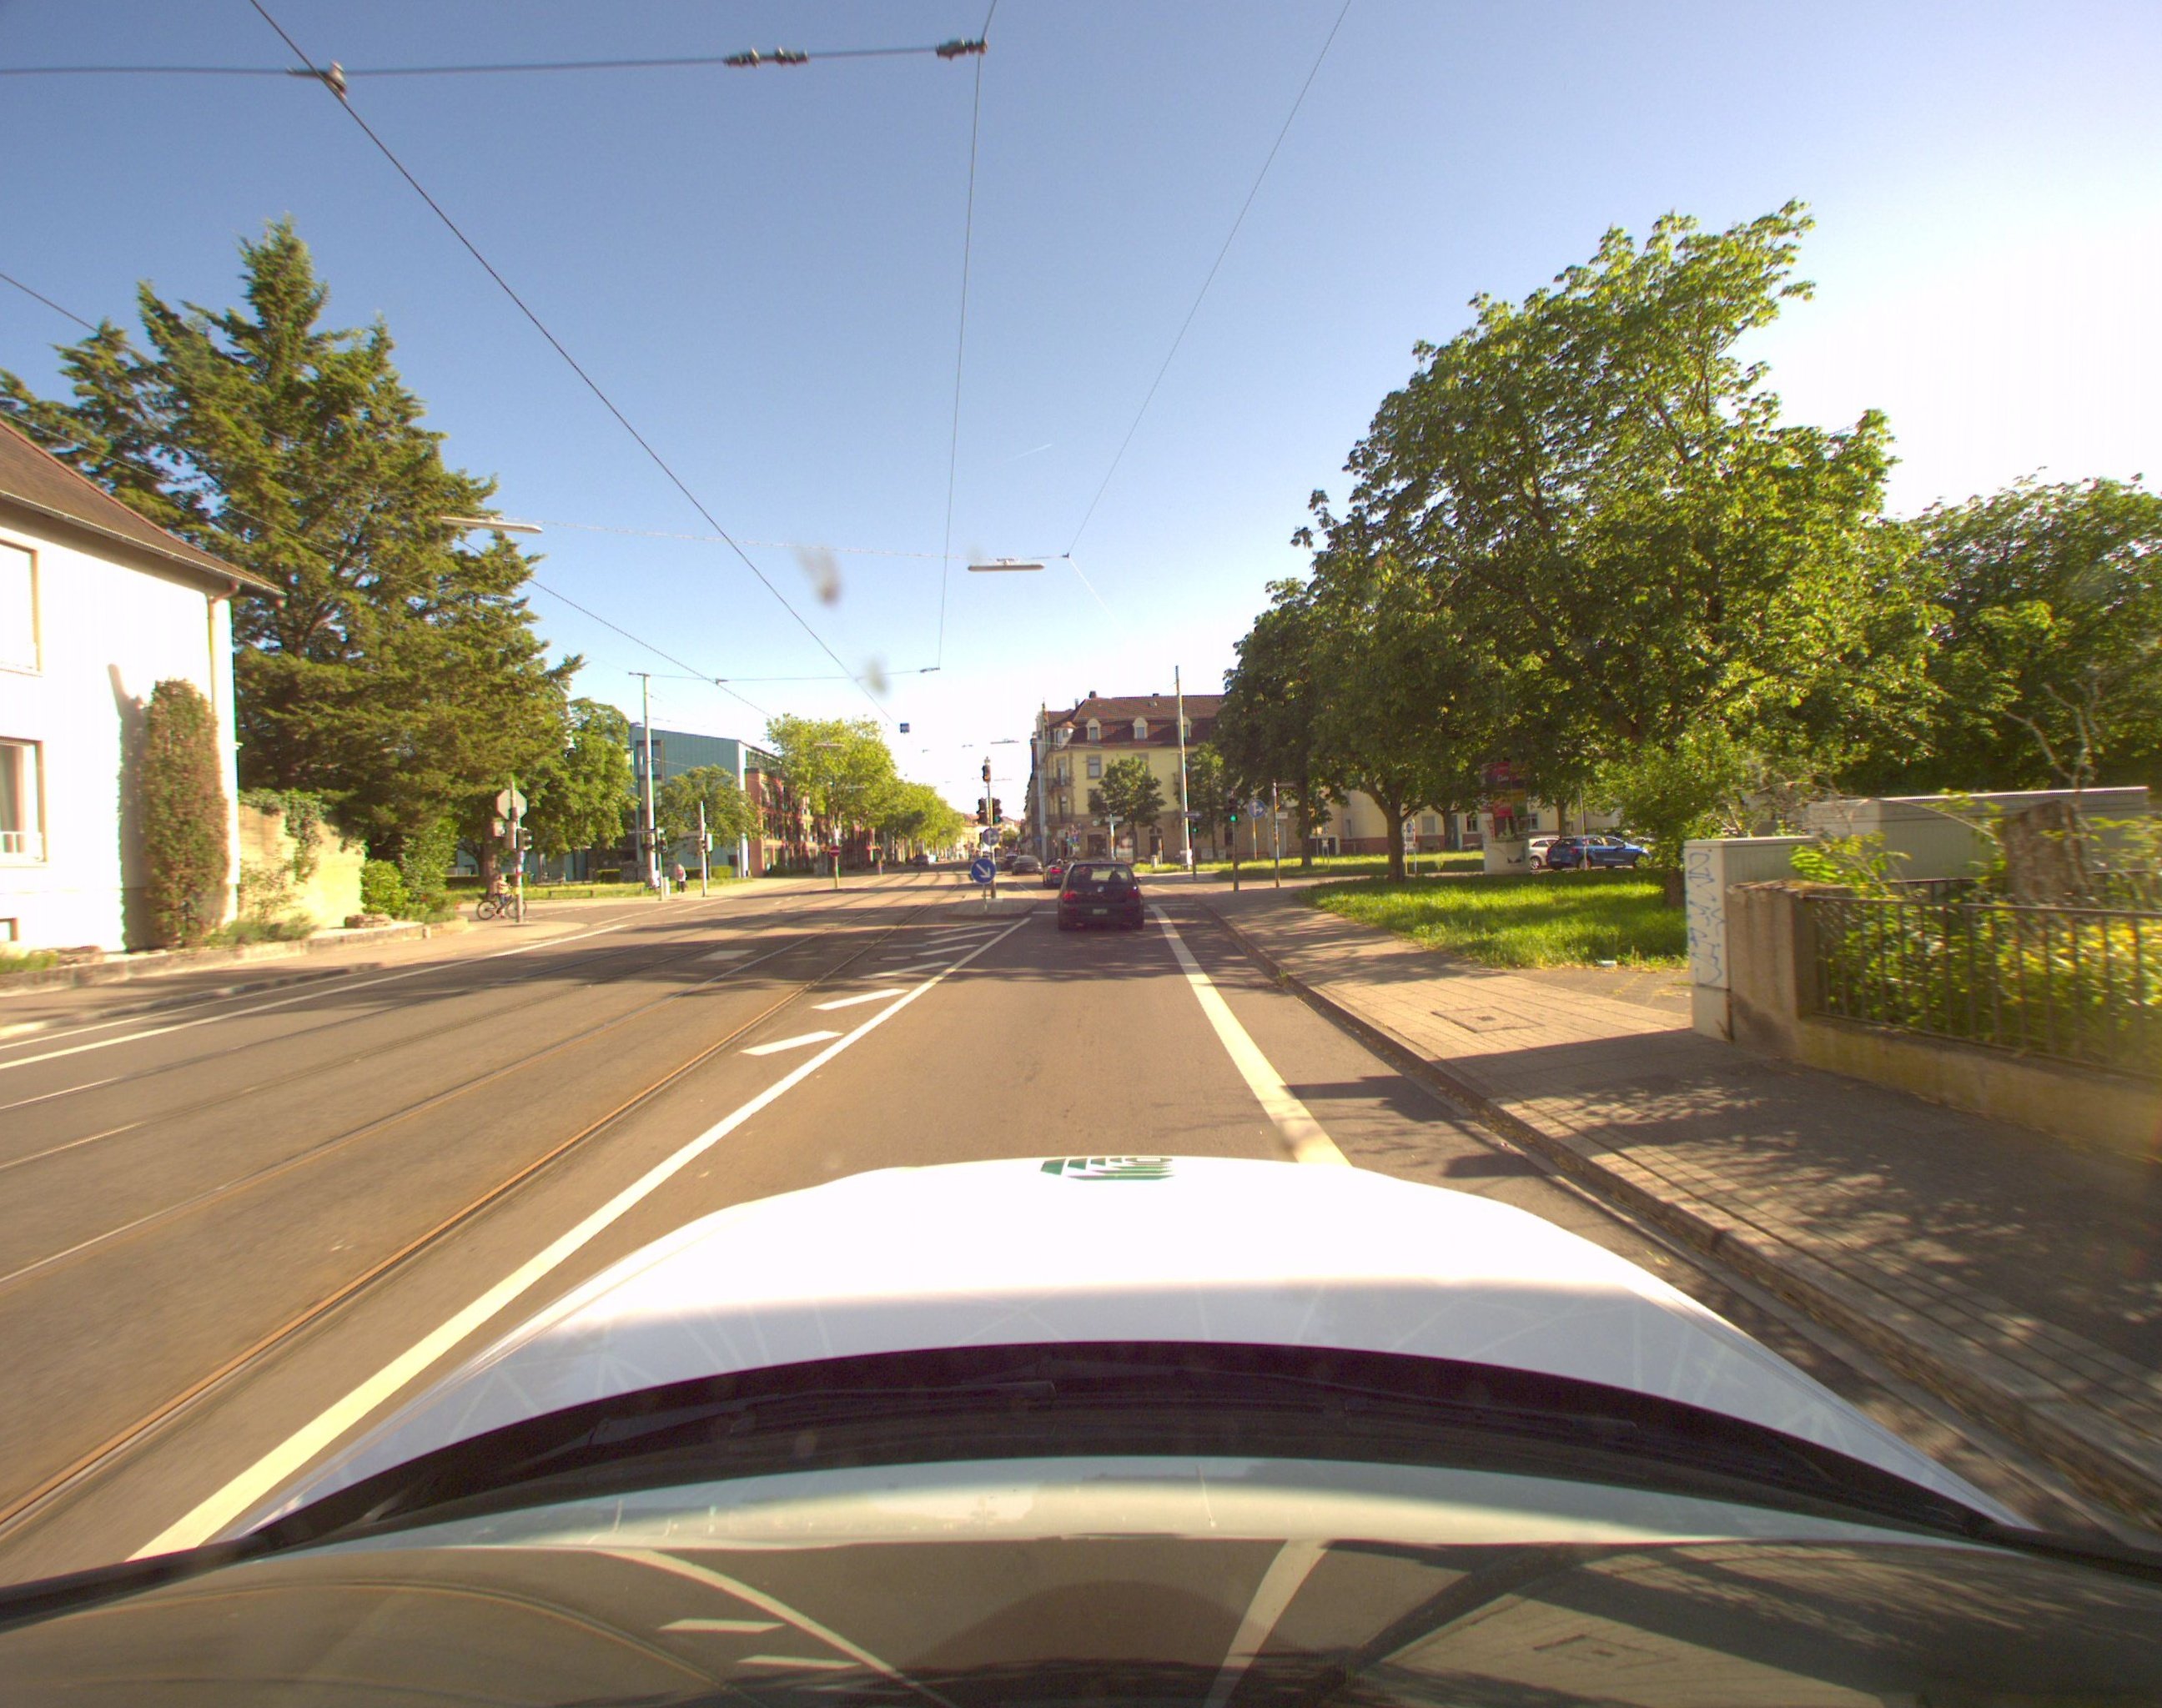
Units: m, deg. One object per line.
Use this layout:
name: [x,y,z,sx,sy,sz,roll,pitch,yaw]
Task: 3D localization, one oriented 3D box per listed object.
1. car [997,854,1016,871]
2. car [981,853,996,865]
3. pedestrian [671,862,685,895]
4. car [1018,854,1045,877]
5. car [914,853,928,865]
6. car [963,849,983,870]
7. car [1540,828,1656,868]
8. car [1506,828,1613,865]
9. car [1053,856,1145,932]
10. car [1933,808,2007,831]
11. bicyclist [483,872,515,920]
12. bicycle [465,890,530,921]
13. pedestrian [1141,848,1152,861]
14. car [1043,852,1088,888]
car: [-6.876,0.803,74.881,1.568,1.311,3.492,-3,3,-7]
car: [-11.507,0.605,101.300,1.679,1.453,3.371,-3,0,-7]
pedestrian: [-21.216,1.270,42.903,0.612,1.689,0.728,0,0,-24]
car: [-3.516,0.765,57.089,1.569,1.311,3.638,-3,3,-8]
car: [-25.001,0.776,127.242,1.971,1.815,4.282,-3,0,-10]
car: [-10.338,0.537,78.253,1.785,1.859,3.990,-3,0,-7]
car: [21.227,-0.262,33.467,3.993,1.448,1.782,-3,0,-14]
car: [21.320,-0.337,36.380,3.792,1.441,1.742,-2,0,-6]
car: [0.343,0.753,17.267,1.710,1.402,4.005,-1,0,0]
car: [81.453,-3.180,74.643,4.806,1.815,1.992,-2,0,-3]
bicyclist: [-21.155,1.523,29.611,0.677,1.685,0.538,-3,0,2]
bicycle: [-21.201,1.874,29.609,1.938,1.015,0.538,-3,0,2]
pedestrian: [6.266,0.018,77.949,0.978,1.187,0.742,-2,0,-6]
car: [-0.707,0.646,34.629,1.632,1.372,3.751,-3,0,-5]
